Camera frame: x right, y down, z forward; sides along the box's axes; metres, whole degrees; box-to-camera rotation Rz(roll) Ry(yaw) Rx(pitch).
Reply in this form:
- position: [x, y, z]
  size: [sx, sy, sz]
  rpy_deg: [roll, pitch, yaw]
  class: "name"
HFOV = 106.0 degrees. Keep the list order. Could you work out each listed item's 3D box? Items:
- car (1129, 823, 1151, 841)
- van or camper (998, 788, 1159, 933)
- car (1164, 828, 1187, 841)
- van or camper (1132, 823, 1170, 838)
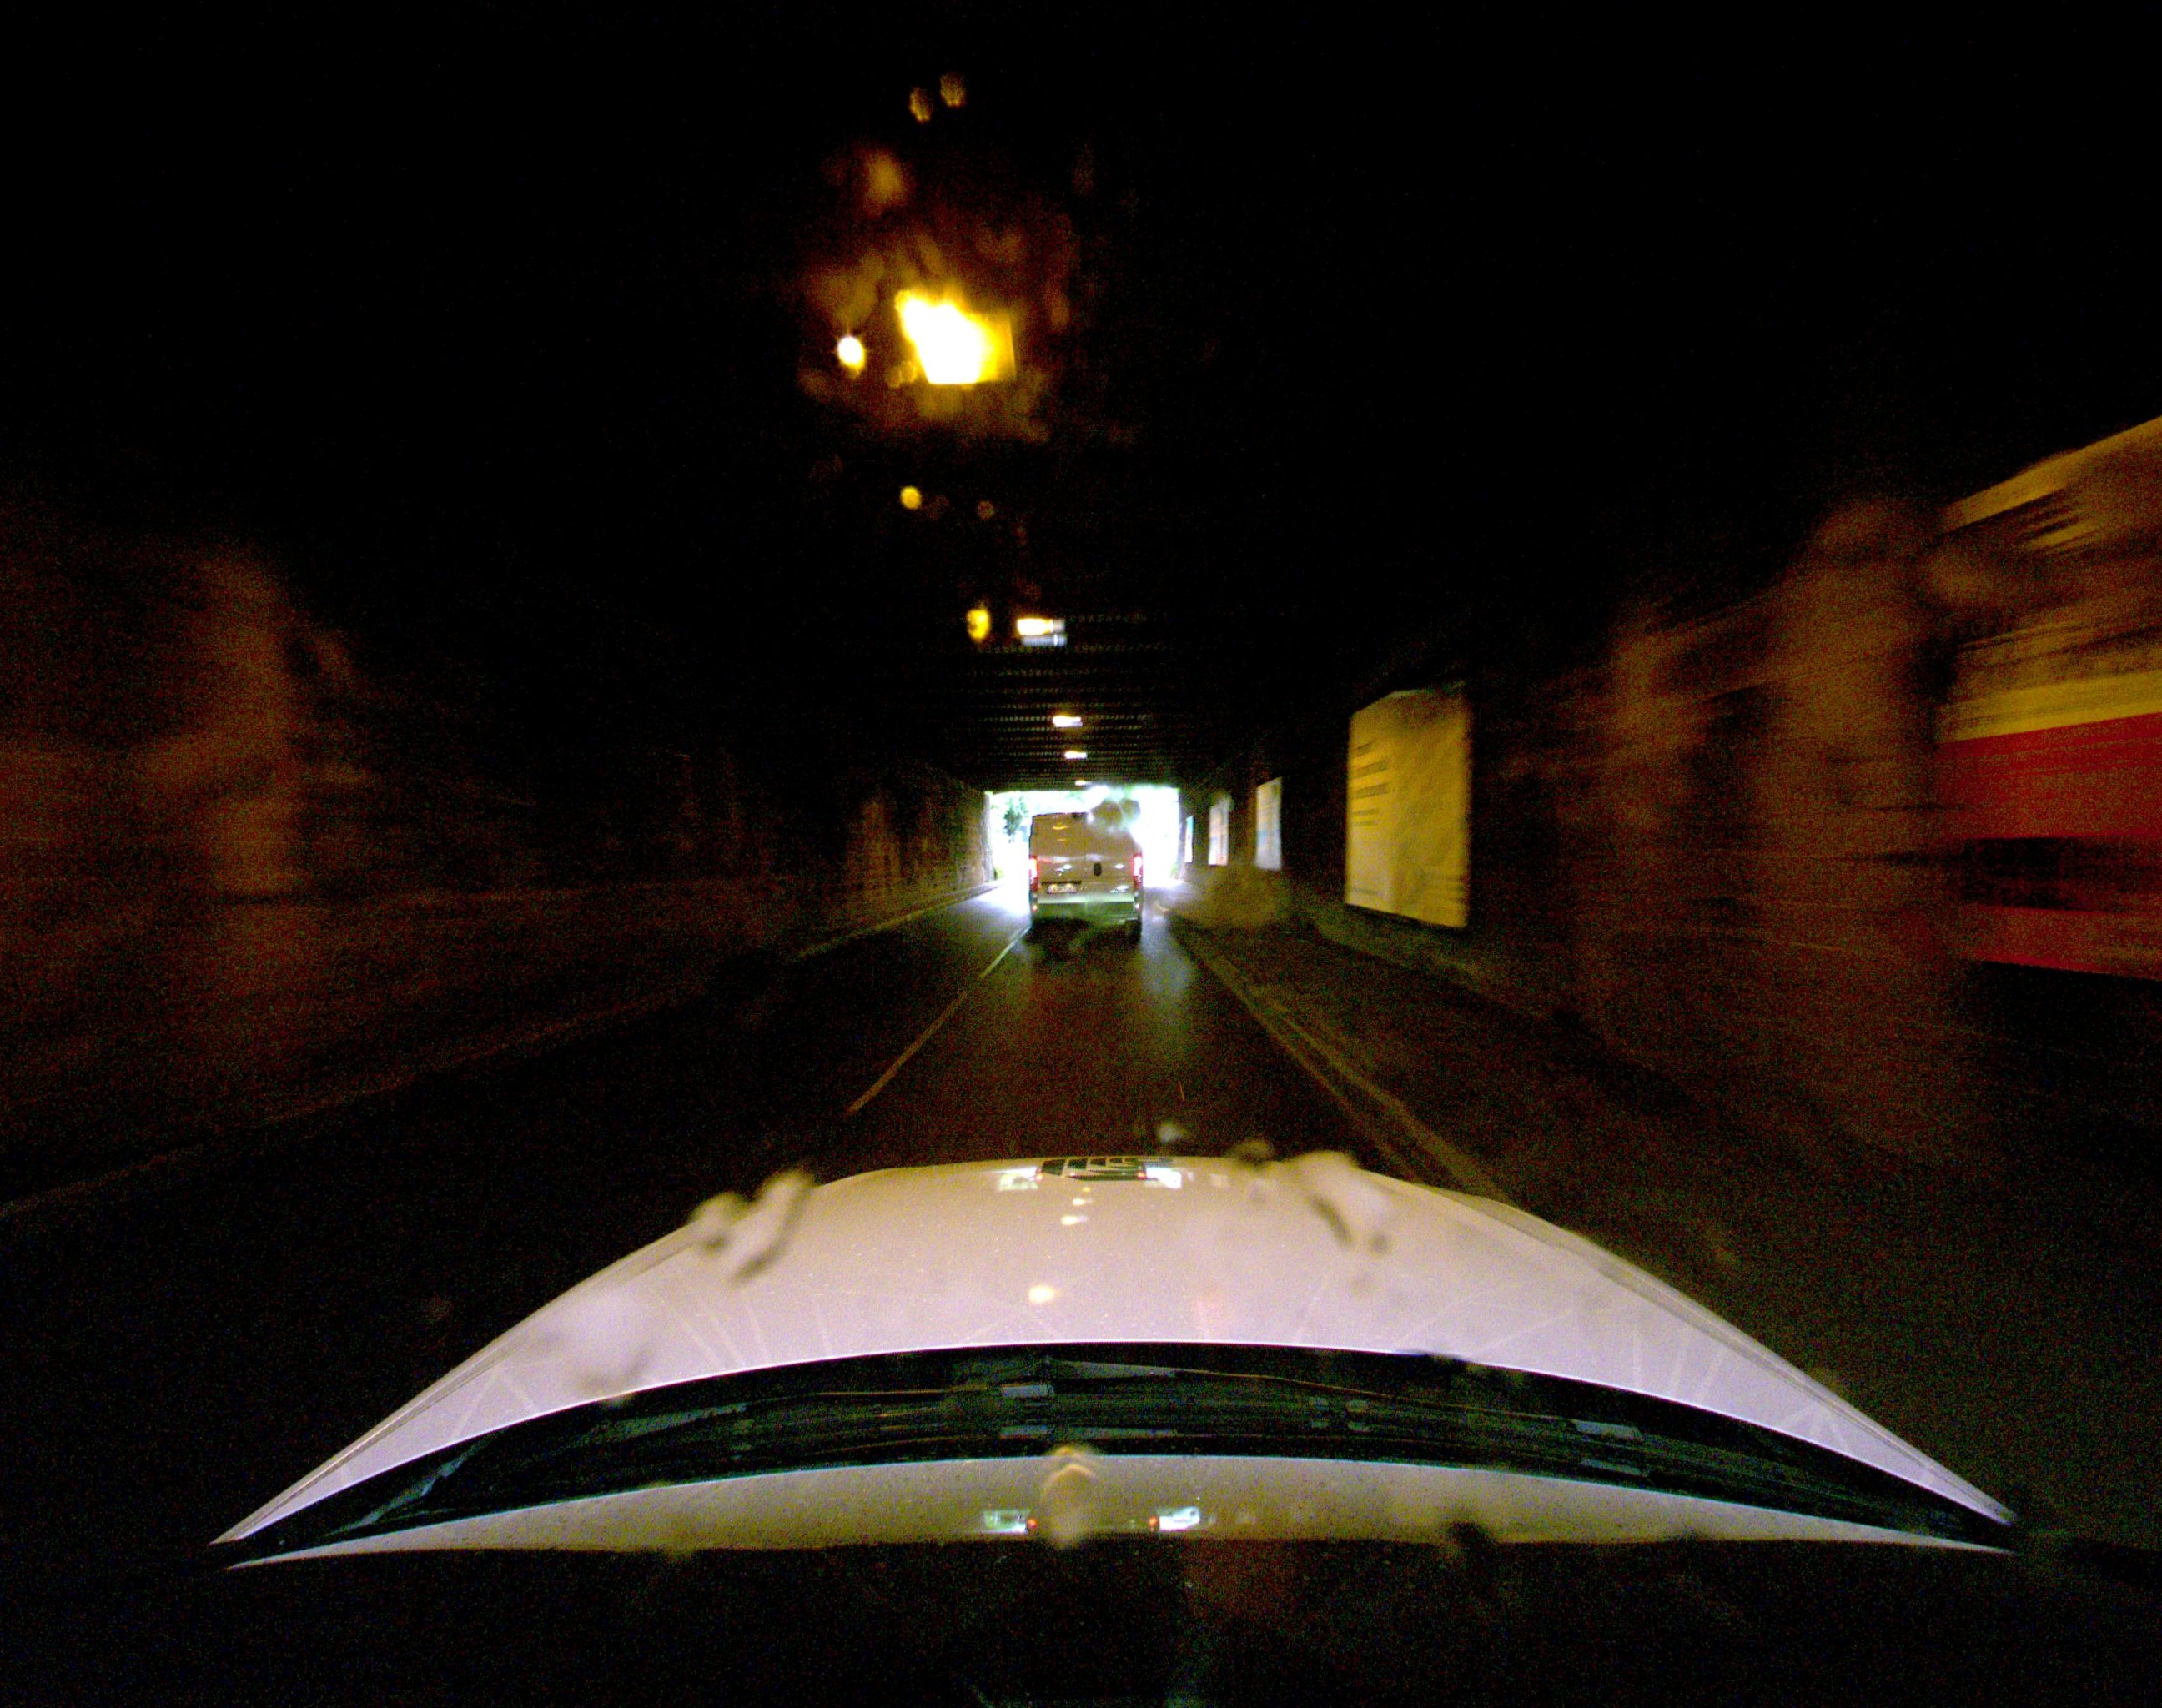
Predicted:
- position: [6.907, -2.558, 96.134]
  size: [1.990, 1.947, 3.993]
  rpy_deg: [-1, 0, -5]
  class: "car"
- position: [-0.072, 0.170, 16.265]
  size: [2.690, 2.417, 4.900]
  rpy_deg: [-1, -2, -1]
  class: "van or camper"
- position: [11.249, -2.331, 96.956]
  size: [1.990, 1.486, 3.993]
  rpy_deg: [-1, 0, -5]
  class: "car"
- position: [9.873, -3.259, 115.224]
  size: [5.280, 2.013, 2.082]
  rpy_deg: [-1, 0, 7]
  class: "van or camper"
